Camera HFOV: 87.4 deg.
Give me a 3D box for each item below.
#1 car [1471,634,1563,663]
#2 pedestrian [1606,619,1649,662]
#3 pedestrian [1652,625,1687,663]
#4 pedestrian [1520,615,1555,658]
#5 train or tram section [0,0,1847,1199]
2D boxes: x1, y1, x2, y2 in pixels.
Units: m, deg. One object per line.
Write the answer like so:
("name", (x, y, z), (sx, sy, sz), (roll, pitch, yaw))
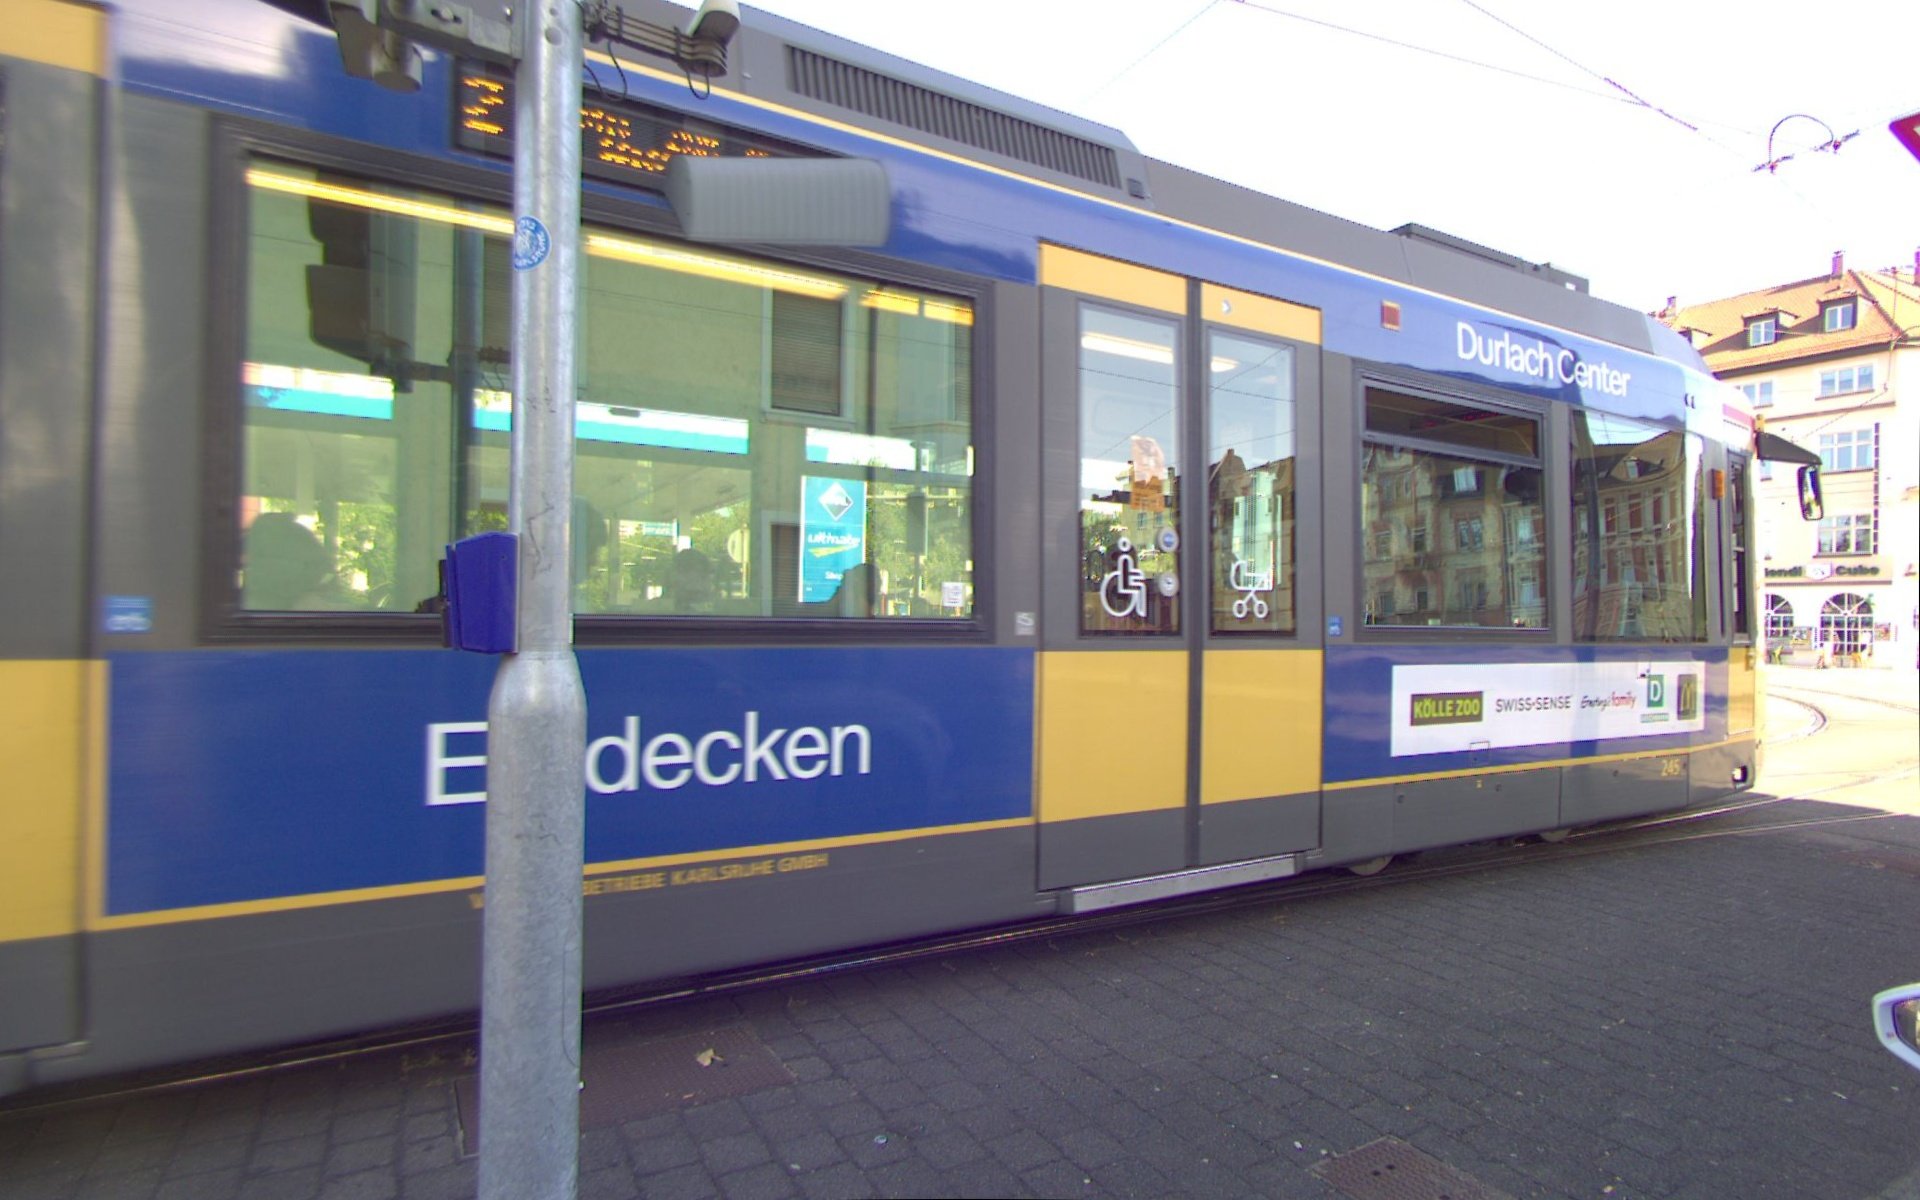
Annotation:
("car", (30.413, 2.624, 54.901), (1.977, 1.472, 3.966), (1, -1, -31))
("pedestrian", (26.632, 1.605, 40.062), (1.091, 1.707, 1.075), (1, -1, -30))
("pedestrian", (34.056, 2.117, 48.198), (0.926, 1.799, 1.006), (1, -1, -15))
("pedestrian", (24.353, 1.546, 42.383), (0.924, 1.779, 0.934), (1, -1, -30))
("train or tram section", (0.436, -0.367, 5.232), (11.889, 3.546, 2.757), (1, -1, -31))
